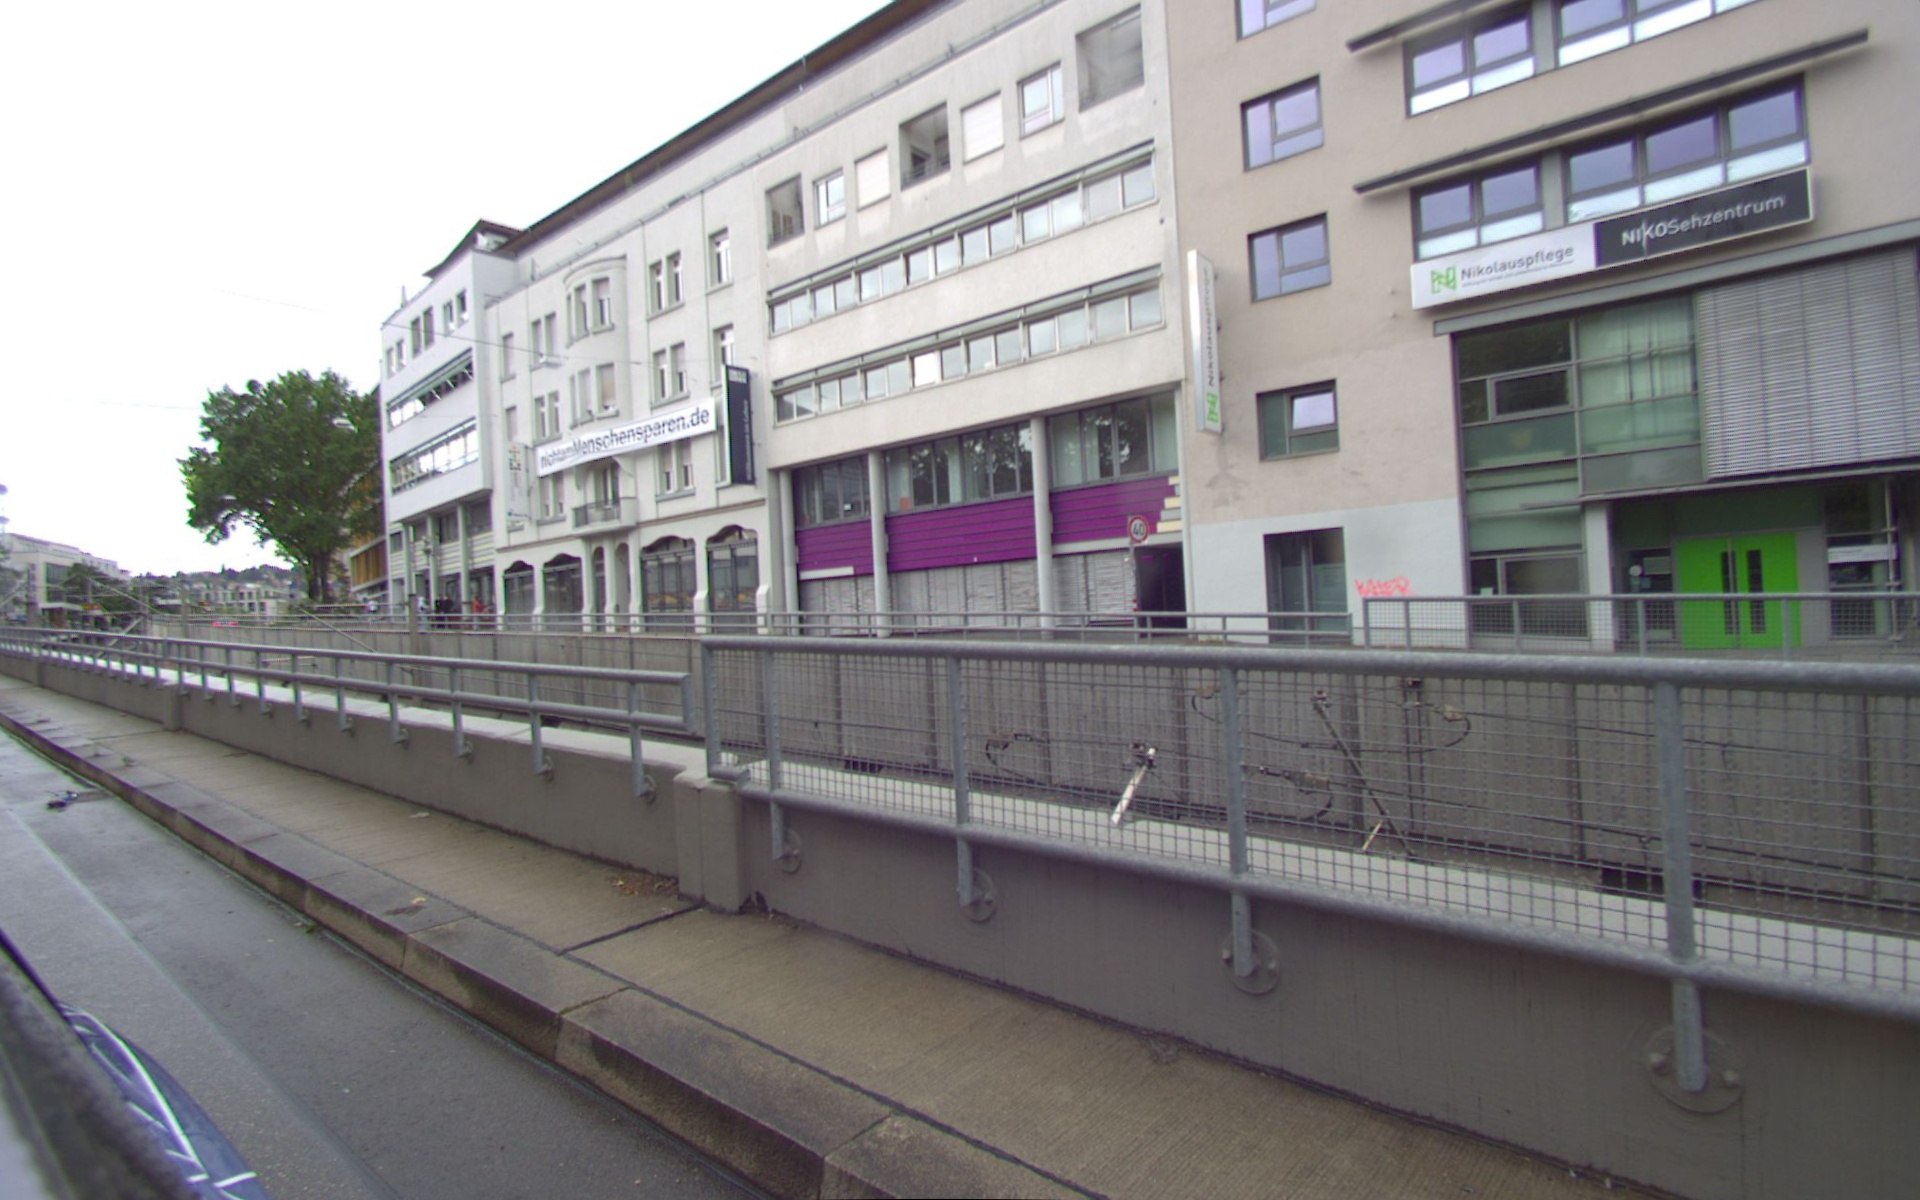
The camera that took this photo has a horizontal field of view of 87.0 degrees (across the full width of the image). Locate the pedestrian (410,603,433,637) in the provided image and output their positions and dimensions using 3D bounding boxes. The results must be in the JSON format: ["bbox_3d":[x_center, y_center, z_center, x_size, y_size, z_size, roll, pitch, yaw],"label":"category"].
[{"bbox_3d":[-26.593,0.992,49.992,0.784,1.655,0.674,-2,0,-2],"label":"pedestrian"}]

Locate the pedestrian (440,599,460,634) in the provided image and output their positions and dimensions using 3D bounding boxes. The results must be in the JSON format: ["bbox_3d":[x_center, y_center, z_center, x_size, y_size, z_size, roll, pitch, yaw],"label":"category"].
[{"bbox_3d":[-25.420,0.818,50.471,0.601,1.735,0.673,-2,0,1],"label":"pedestrian"}]

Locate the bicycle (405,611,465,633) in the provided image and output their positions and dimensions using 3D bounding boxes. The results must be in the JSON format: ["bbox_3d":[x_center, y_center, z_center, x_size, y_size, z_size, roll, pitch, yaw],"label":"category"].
[{"bbox_3d":[-28.843,1.181,55.525,1.673,1.051,4.525,-3,2,-44],"label":"bicycle"}]

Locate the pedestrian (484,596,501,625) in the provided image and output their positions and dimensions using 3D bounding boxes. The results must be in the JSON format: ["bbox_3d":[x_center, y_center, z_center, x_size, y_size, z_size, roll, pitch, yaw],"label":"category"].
[{"bbox_3d":[-23.927,0.534,51.783,0.600,1.430,0.674,-2,0,-44],"label":"pedestrian"}]

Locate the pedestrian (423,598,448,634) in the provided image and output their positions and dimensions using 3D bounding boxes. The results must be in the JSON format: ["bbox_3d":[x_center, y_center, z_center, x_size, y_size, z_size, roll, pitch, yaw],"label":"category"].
[{"bbox_3d":[-26.500,0.801,51.148,0.937,1.798,0.668,-2,0,27],"label":"pedestrian"}]

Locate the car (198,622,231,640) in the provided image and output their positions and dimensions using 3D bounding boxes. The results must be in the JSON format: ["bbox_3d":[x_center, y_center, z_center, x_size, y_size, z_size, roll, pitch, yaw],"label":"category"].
[{"bbox_3d":[-72.165,2.998,97.941,4.577,1.726,1.816,-2,-1,43],"label":"car"}]

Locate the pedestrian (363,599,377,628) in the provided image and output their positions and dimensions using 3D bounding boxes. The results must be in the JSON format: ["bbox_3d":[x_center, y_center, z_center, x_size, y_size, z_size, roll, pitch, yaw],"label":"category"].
[{"bbox_3d":[-38.674,0.886,66.309,0.657,1.863,0.831,1,-2,-40],"label":"pedestrian"}]

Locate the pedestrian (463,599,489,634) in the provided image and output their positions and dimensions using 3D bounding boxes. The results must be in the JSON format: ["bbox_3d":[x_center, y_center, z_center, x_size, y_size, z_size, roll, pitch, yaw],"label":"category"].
[{"bbox_3d":[-23.181,0.790,48.451,0.937,1.628,0.668,-2,0,27],"label":"pedestrian"}]
